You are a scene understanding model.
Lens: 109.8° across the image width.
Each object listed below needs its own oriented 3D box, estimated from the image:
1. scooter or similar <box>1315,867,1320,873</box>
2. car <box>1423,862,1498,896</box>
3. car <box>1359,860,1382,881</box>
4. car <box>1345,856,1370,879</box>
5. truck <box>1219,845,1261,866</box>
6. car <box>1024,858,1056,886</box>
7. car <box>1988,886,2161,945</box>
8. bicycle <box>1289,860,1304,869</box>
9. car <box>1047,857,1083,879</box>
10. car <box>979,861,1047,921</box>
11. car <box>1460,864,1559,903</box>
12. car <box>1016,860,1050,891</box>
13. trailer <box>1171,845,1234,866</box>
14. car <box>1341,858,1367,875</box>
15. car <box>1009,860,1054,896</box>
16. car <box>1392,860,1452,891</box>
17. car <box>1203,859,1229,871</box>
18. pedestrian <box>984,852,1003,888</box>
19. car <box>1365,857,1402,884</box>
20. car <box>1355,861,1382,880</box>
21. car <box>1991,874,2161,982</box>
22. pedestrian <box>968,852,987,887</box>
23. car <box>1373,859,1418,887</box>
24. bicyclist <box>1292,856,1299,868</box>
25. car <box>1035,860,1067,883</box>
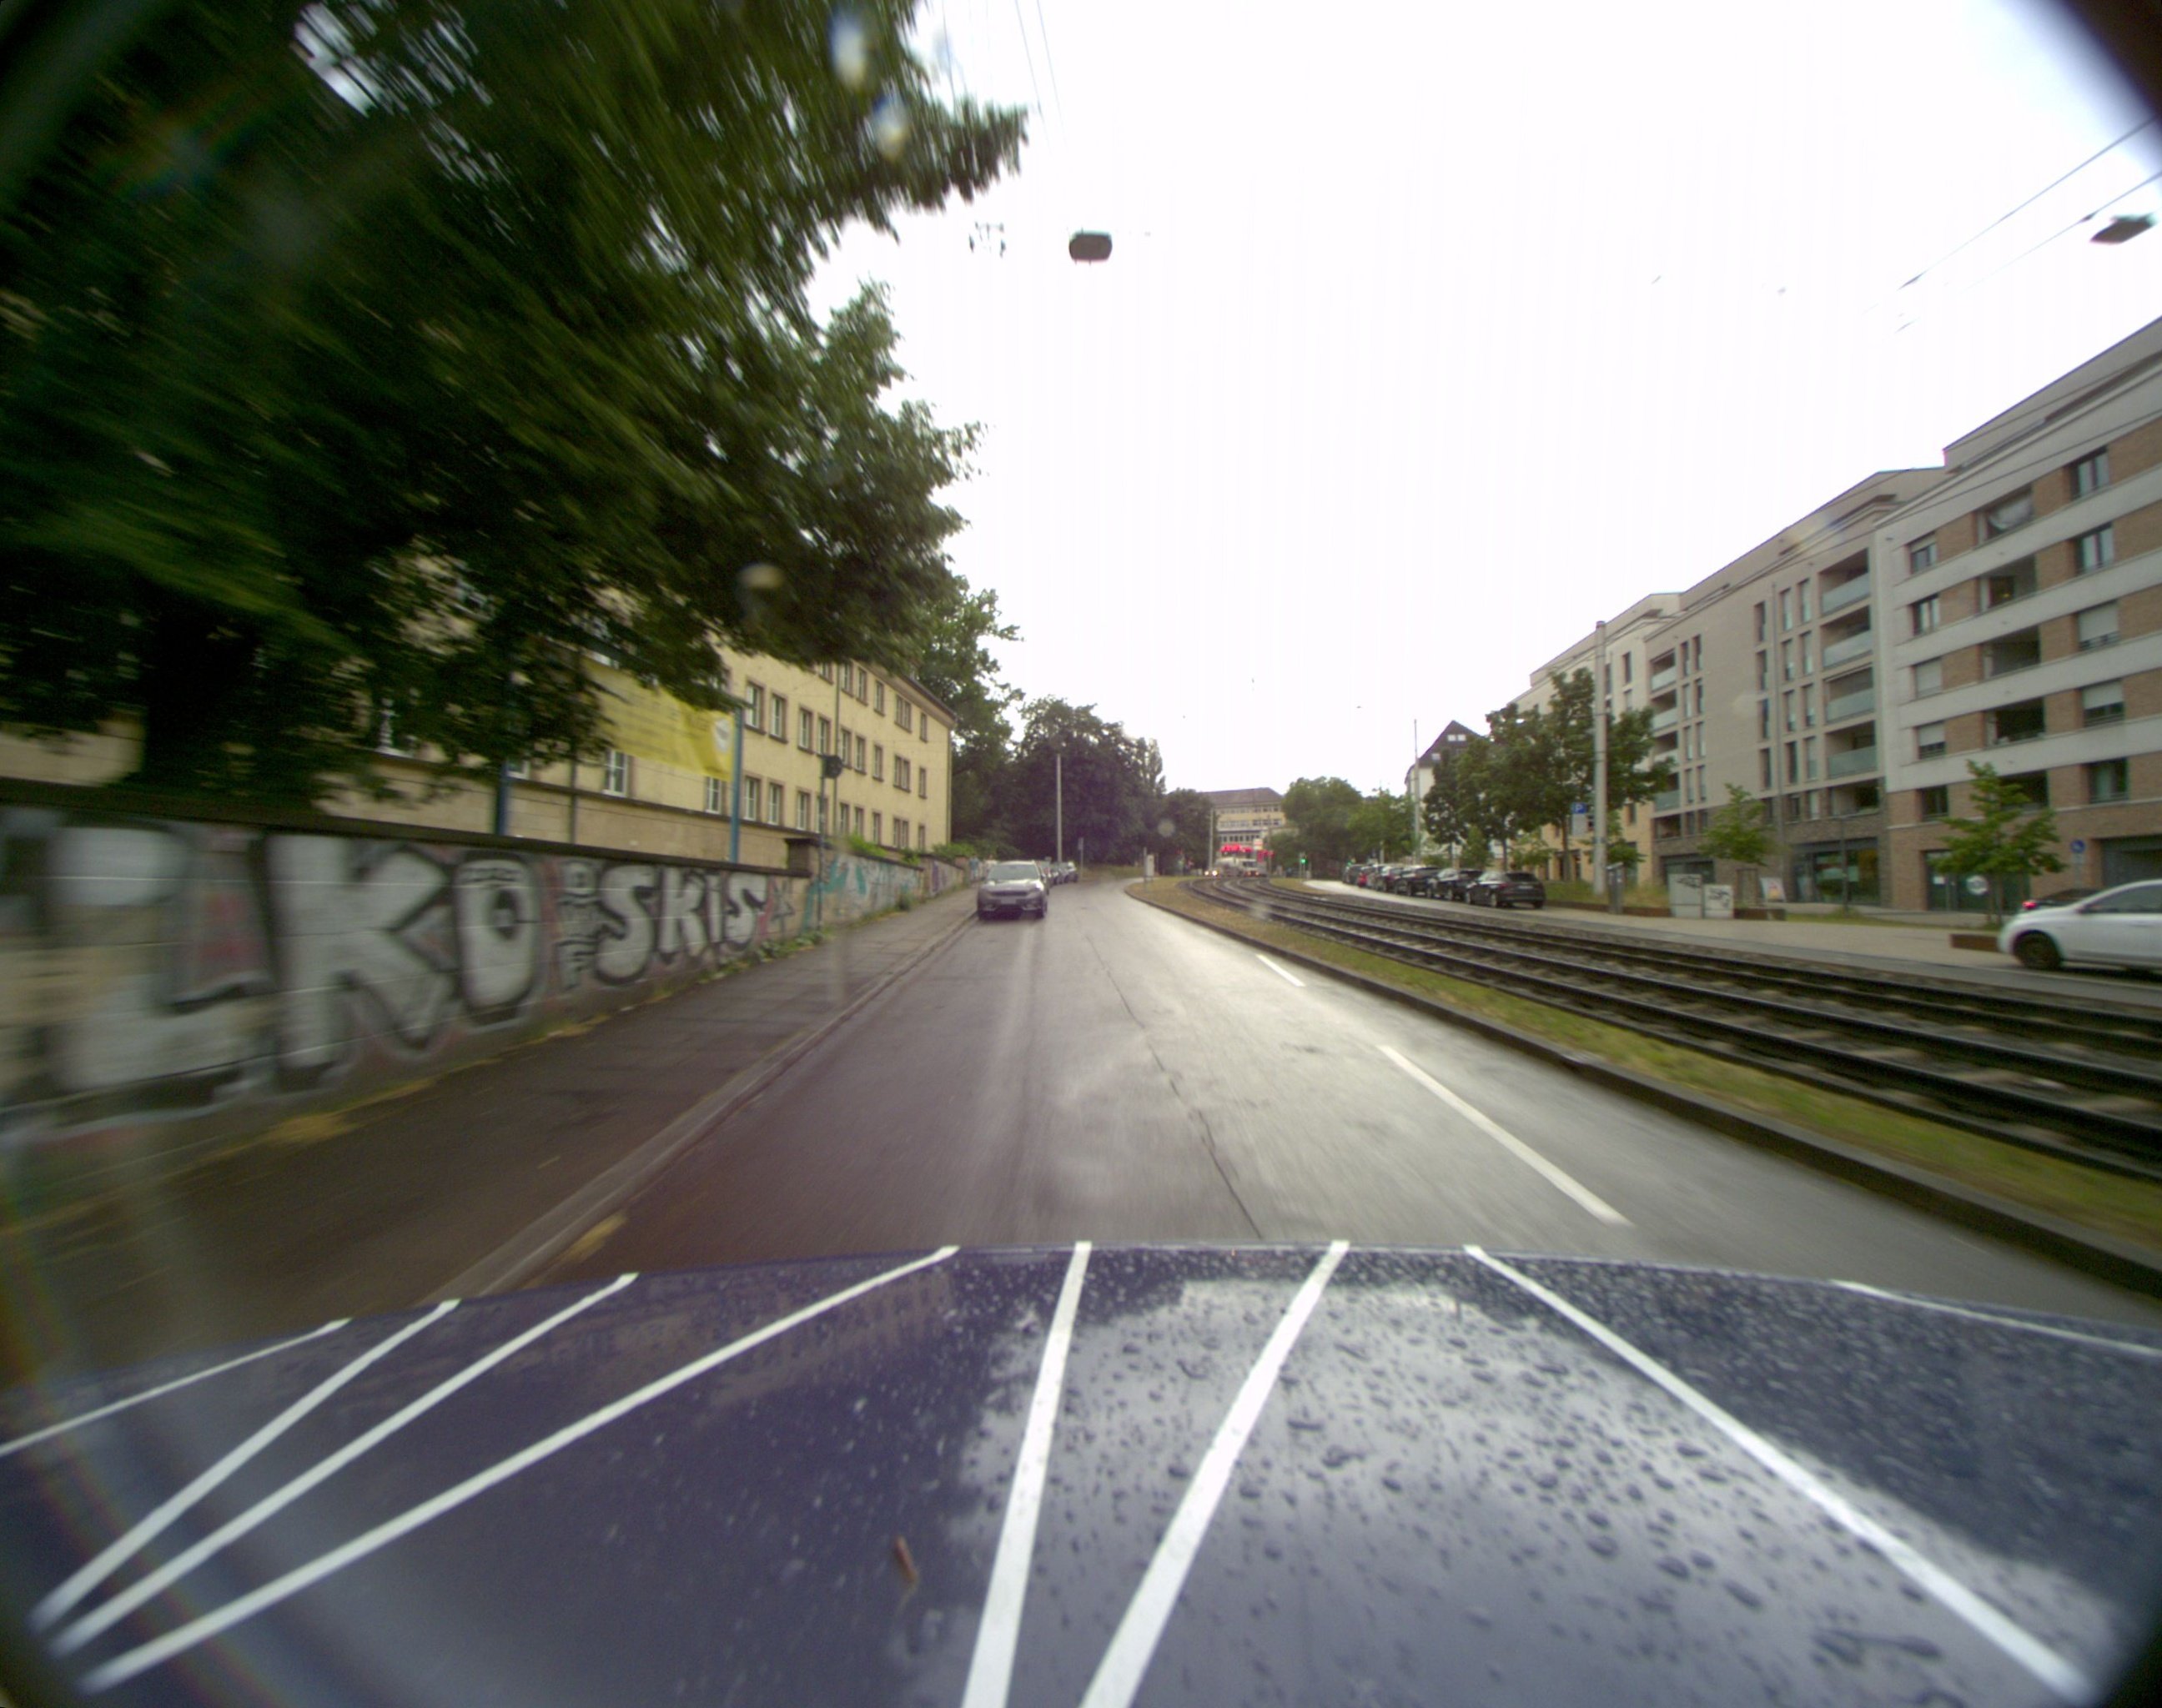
[{"bbox_3d":[47.472,3.228,152.558,1.365,1.186,0.399,-3,2,-45],"label":"scooter or similar"},{"bbox_3d":[18.068,1.152,36.383,1.740,1.480,4.259,-1,0,5],"label":"car"},{"bbox_3d":[21.757,1.249,57.088,1.471,1.522,2.935,0,0,18],"label":"car"},{"bbox_3d":[24.165,1.156,66.555,1.583,1.848,4.338,-2,-1,14],"label":"car"},{"bbox_3d":[25.473,0.238,121.824,6.109,3.379,2.843,1,-1,26],"label":"truck"},{"bbox_3d":[-2.388,1.032,45.196,1.670,1.564,3.856,2,0,0],"label":"car"},{"bbox_3d":[28.102,1.700,21.070,3.999,1.426,1.763,2,0,-5],"label":"car"},{"bbox_3d":[25.465,1.228,89.838,1.709,1.133,0.626,0,0,10],"label":"bicycle"},{"bbox_3d":[-1.131,1.003,54.479,1.599,1.457,2.725,2,0,21],"label":"car"},{"bbox_3d":[-1.863,0.983,21.745,1.670,1.515,4.108,-1,0,-2],"label":"car"},{"bbox_3d":[17.029,1.142,30.423,1.970,1.422,4.202,-1,0,7],"label":"car"},{"bbox_3d":[-2.487,1.076,39.351,1.670,1.468,4.065,0,0,-3],"label":"car"},{"bbox_3d":[19.936,0.260,124.740,9.809,3.375,2.819,0,0,28],"label":"trailer"},{"bbox_3d":[25.562,1.140,71.228,1.996,1.595,4.220,0,0,15],"label":"car"},{"bbox_3d":[-2.156,1.036,34.251,1.669,1.468,4.457,2,0,1],"label":"car"},{"bbox_3d":[18.416,1.137,41.233,1.806,1.574,4.702,0,0,9],"label":"car"},{"bbox_3d":[17.972,1.483,100.991,1.885,1.482,3.858,1,0,35],"label":"car"},{"bbox_3d":[-4.365,0.803,38.008,0.719,1.744,0.739,1,0,9],"label":"pedestrian"},{"bbox_3d":[20.846,1.111,52.426,1.665,1.737,4.261,0,0,12],"label":"car"},{"bbox_3d":[23.157,1.322,61.393,1.553,1.439,4.405,-1,-1,14],"label":"car"},{"bbox_3d":[16.080,1.076,10.884,1.769,1.470,3.736,1,0,5],"label":"car"},{"bbox_3d":[-5.202,0.775,38.193,0.719,1.744,0.739,1,0,9],"label":"pedestrian"},{"bbox_3d":[19.334,1.149,46.848,1.734,1.634,4.536,-1,0,11],"label":"car"},{"bbox_3d":[25.411,0.946,90.013,0.799,1.287,0.595,0,2,10],"label":"bicyclist"},{"bbox_3d":[-1.945,1.147,50.408,1.539,1.408,3.646,2,0,6],"label":"car"}]
